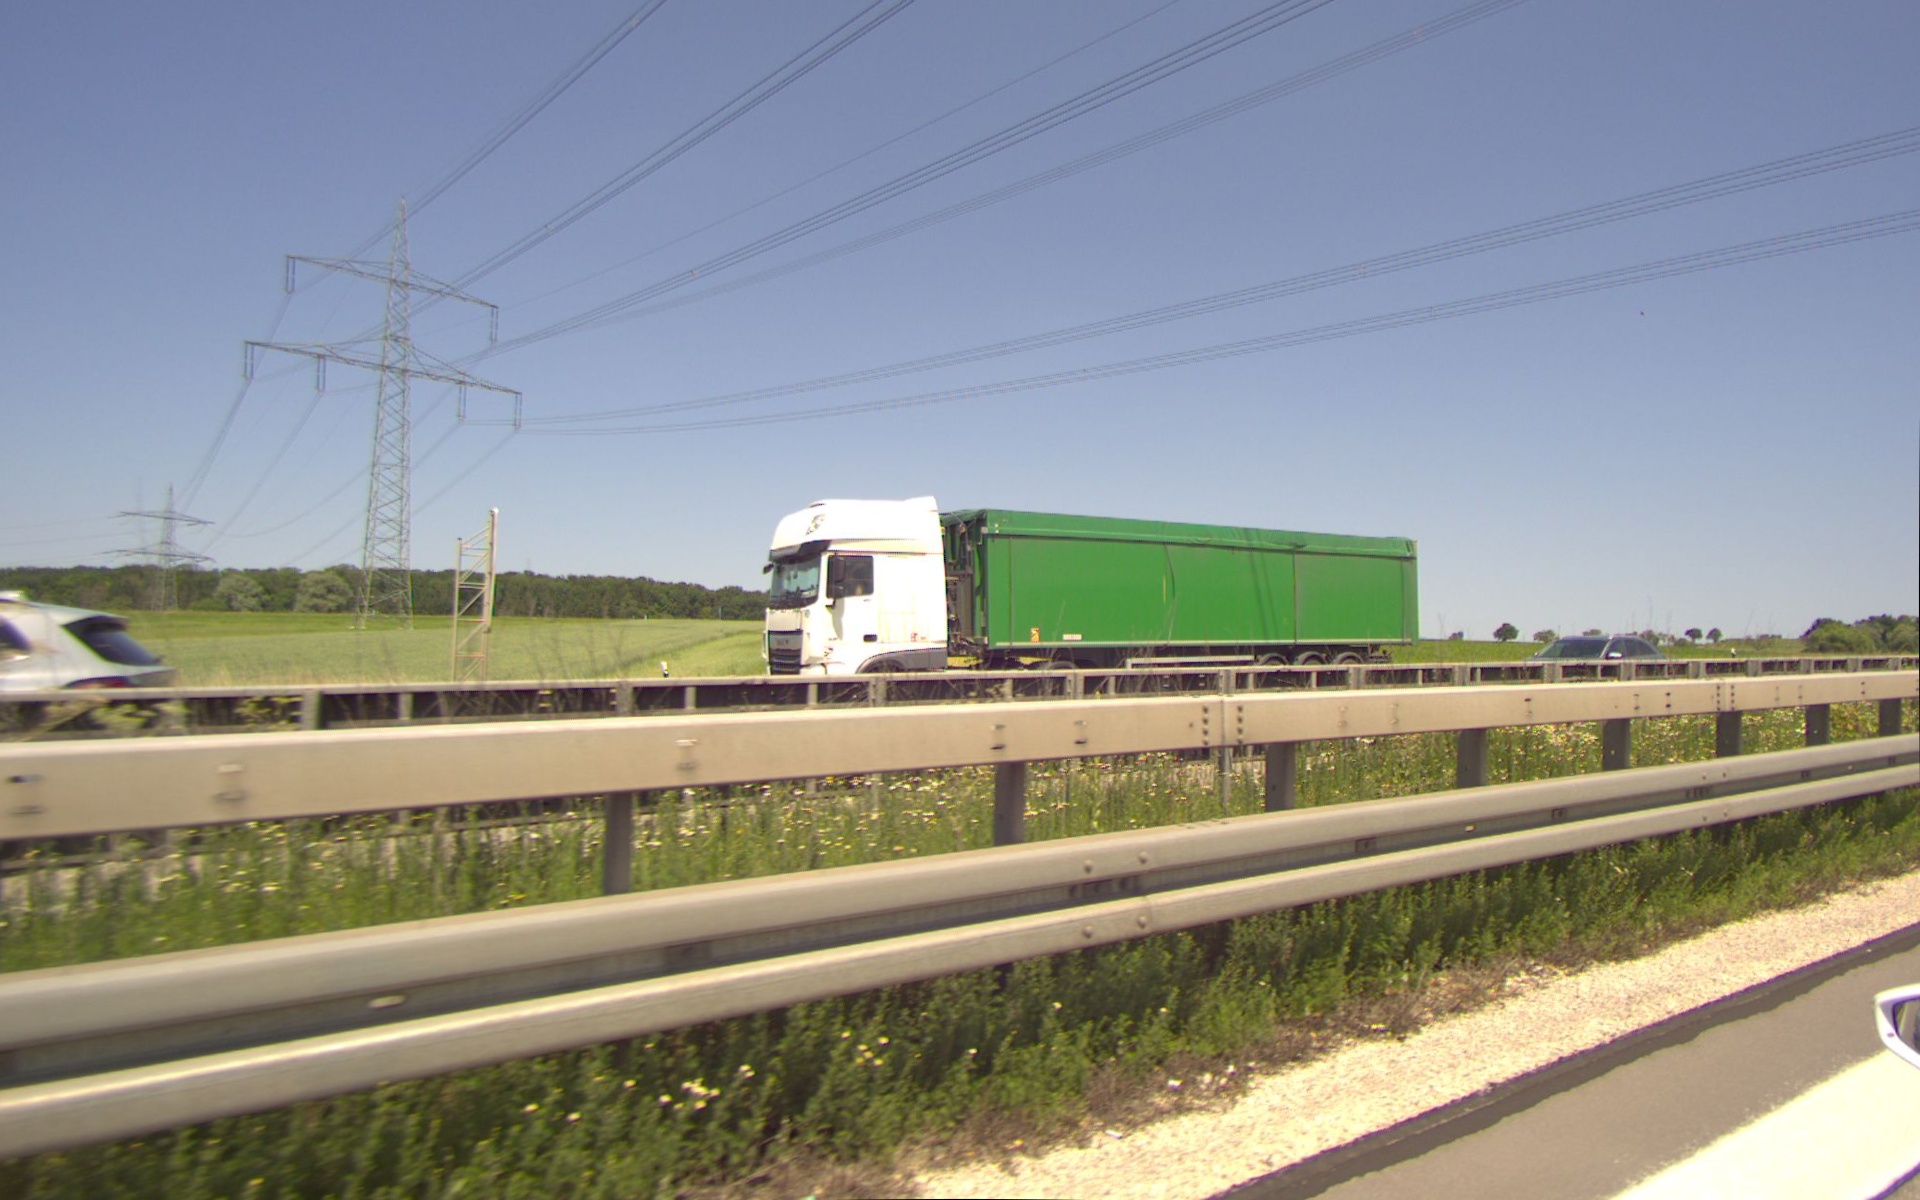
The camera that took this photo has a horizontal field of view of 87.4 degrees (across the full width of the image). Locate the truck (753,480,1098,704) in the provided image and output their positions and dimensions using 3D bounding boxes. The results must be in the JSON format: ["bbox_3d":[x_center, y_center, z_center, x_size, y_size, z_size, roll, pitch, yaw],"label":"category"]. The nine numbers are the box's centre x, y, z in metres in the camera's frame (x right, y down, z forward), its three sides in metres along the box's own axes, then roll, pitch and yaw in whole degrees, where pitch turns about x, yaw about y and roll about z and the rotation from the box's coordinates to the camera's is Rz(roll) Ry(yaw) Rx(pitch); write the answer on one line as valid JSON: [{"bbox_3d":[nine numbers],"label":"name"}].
[{"bbox_3d":[-0.581,-0.067,18.848,5.834,3.606,2.709,2,0,-31],"label":"truck"}]

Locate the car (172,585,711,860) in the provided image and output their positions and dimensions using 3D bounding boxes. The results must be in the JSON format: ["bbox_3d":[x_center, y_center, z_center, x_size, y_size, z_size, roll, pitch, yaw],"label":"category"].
[{"bbox_3d":[-3.789,0.786,7.693,3.318,1.679,1.588,2,0,-32],"label":"car"}]

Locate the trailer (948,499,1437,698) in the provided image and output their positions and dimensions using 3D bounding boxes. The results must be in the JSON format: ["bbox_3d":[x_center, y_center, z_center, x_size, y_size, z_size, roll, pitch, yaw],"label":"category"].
[{"bbox_3d":[5.772,0.138,22.778,12.395,3.642,2.739,2,0,-32],"label":"trailer"}]

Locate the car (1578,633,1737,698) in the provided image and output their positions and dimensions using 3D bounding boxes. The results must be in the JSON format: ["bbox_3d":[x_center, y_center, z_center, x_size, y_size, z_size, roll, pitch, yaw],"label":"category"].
[{"bbox_3d":[16.940,1.547,24.372,3.953,1.484,1.627,1,-3,-30],"label":"car"}]
